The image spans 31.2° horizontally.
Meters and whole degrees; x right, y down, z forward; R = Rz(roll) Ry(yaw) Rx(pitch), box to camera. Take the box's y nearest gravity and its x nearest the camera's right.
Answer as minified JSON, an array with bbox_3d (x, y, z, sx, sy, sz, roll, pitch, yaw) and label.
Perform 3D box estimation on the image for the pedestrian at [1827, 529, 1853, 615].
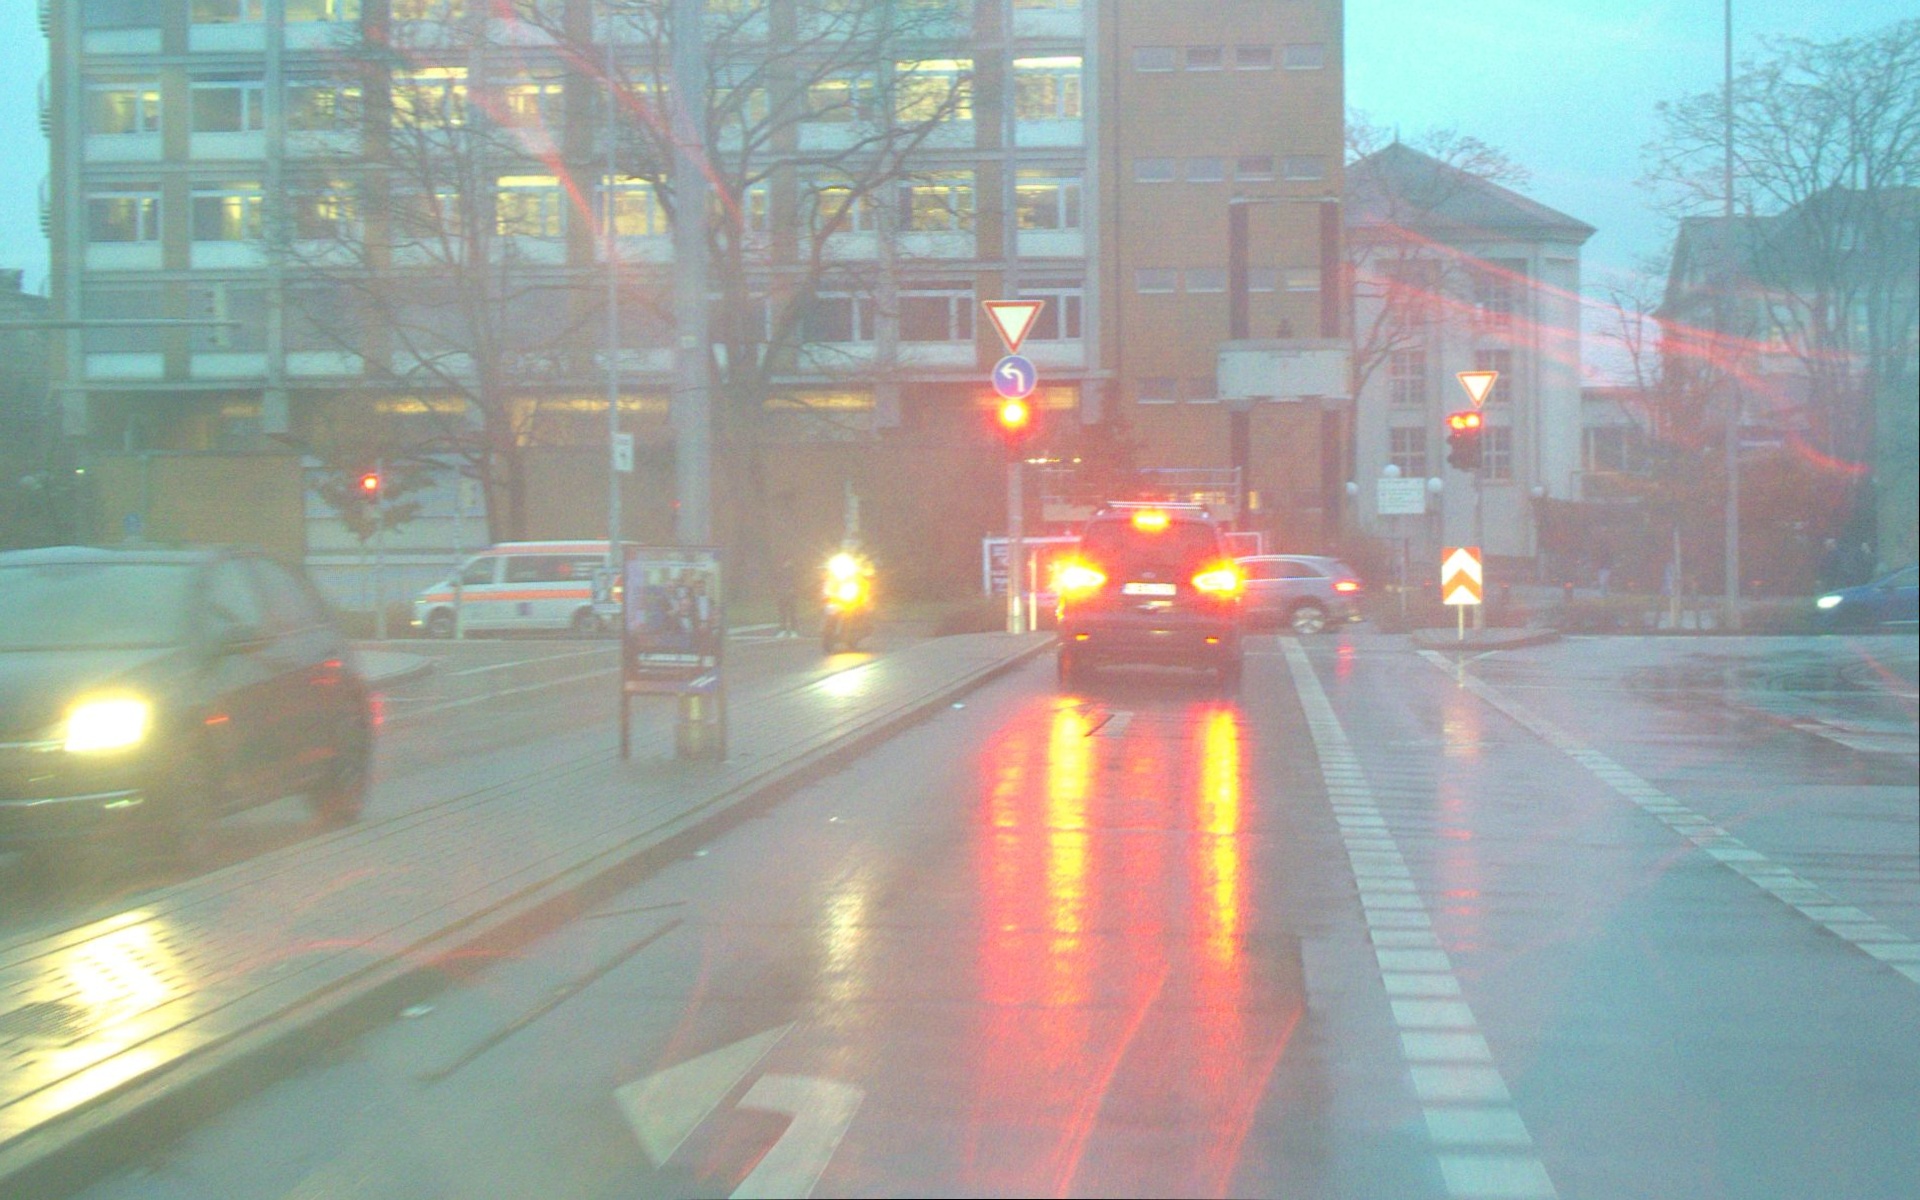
[{"bbox_3d":[18.880,-0.603,73.752,0.459,1.832,0.438,1,-1,22],"label":"pedestrian"}]

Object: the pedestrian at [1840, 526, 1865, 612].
[{"bbox_3d":[19.294,-0.665,74.318,0.438,1.832,0.459,1,-1,23],"label":"pedestrian"}]

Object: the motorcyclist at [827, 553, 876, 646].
[{"bbox_3d":[-1.399,0.001,44.555,0.536,1.189,0.611,1,-1,5],"label":"motorcyclist"}]

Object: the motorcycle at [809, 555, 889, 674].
[{"bbox_3d":[-1.429,0.173,44.582,0.829,1.492,2.314,0,1,3],"label":"motorcycle"}]

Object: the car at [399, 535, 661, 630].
[{"bbox_3d":[-9.127,-0.392,73.028,5.160,1.907,1.997,1,1,21],"label":"car"}]

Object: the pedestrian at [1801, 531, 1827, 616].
[{"bbox_3d":[18.541,-0.581,74.626,0.438,1.832,0.459,1,-1,23],"label":"pedestrian"}]

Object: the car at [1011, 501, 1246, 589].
[{"bbox_3d":[4.189,-1.354,85.034,5.549,2.017,1.999,1,-1,11],"label":"car"}]

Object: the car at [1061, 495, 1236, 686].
[{"bbox_3d":[1.980,-0.136,35.220,1.647,1.812,4.000,1,1,5],"label":"car"}]

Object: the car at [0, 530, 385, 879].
[{"bbox_3d":[-4.085,0.393,16.016,1.747,1.373,4.366,-1,1,4],"label":"car"}]

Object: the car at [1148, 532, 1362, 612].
[{"bbox_3d":[5.816,-0.553,67.809,3.920,1.480,1.468,1,-1,20],"label":"car"}]

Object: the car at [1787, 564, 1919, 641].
[{"bbox_3d":[17.382,0.041,64.605,3.414,1.393,1.468,1,1,20],"label":"car"}]
